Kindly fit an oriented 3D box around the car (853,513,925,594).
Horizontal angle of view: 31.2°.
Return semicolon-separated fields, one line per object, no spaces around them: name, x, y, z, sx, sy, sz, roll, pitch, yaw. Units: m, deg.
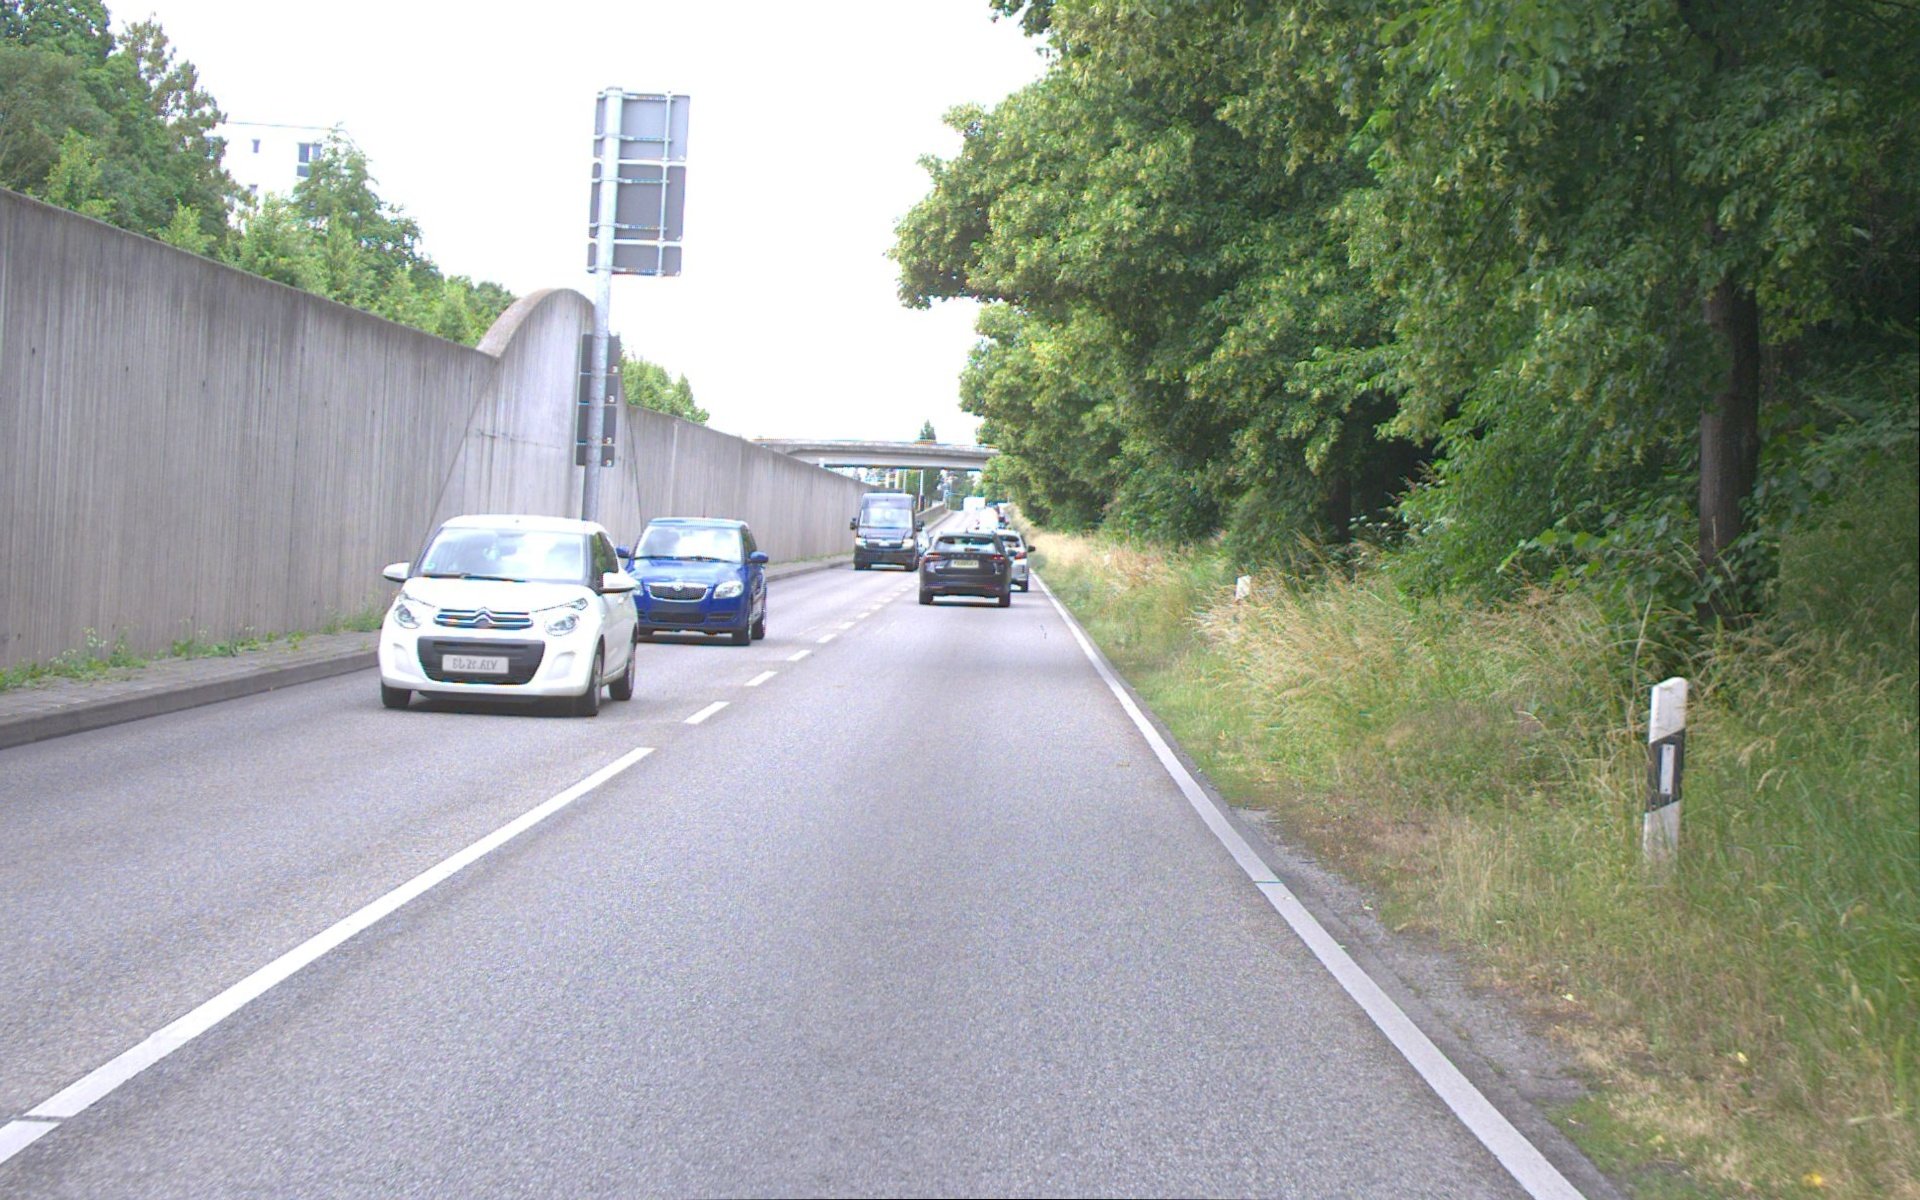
car;-2.372;-1.586;116.476;2.110;2.621;7.417;2;1;1

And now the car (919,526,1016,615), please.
car;0.116;-0.548;66.766;1.754;1.518;4.036;3;-1;-1

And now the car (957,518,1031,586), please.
car;0.845;-1.147;83.482;1.754;1.518;4.036;0;-1;1

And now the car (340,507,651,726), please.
car;-3.524;0.074;26.803;1.915;1.490;4.209;3;1;-2

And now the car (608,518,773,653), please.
car;-3.256;-0.213;42.218;1.767;1.490;4.209;3;1;-2

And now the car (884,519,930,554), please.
car;-2.347;-2.847;153.520;1.892;1.478;4.823;2;1;1
